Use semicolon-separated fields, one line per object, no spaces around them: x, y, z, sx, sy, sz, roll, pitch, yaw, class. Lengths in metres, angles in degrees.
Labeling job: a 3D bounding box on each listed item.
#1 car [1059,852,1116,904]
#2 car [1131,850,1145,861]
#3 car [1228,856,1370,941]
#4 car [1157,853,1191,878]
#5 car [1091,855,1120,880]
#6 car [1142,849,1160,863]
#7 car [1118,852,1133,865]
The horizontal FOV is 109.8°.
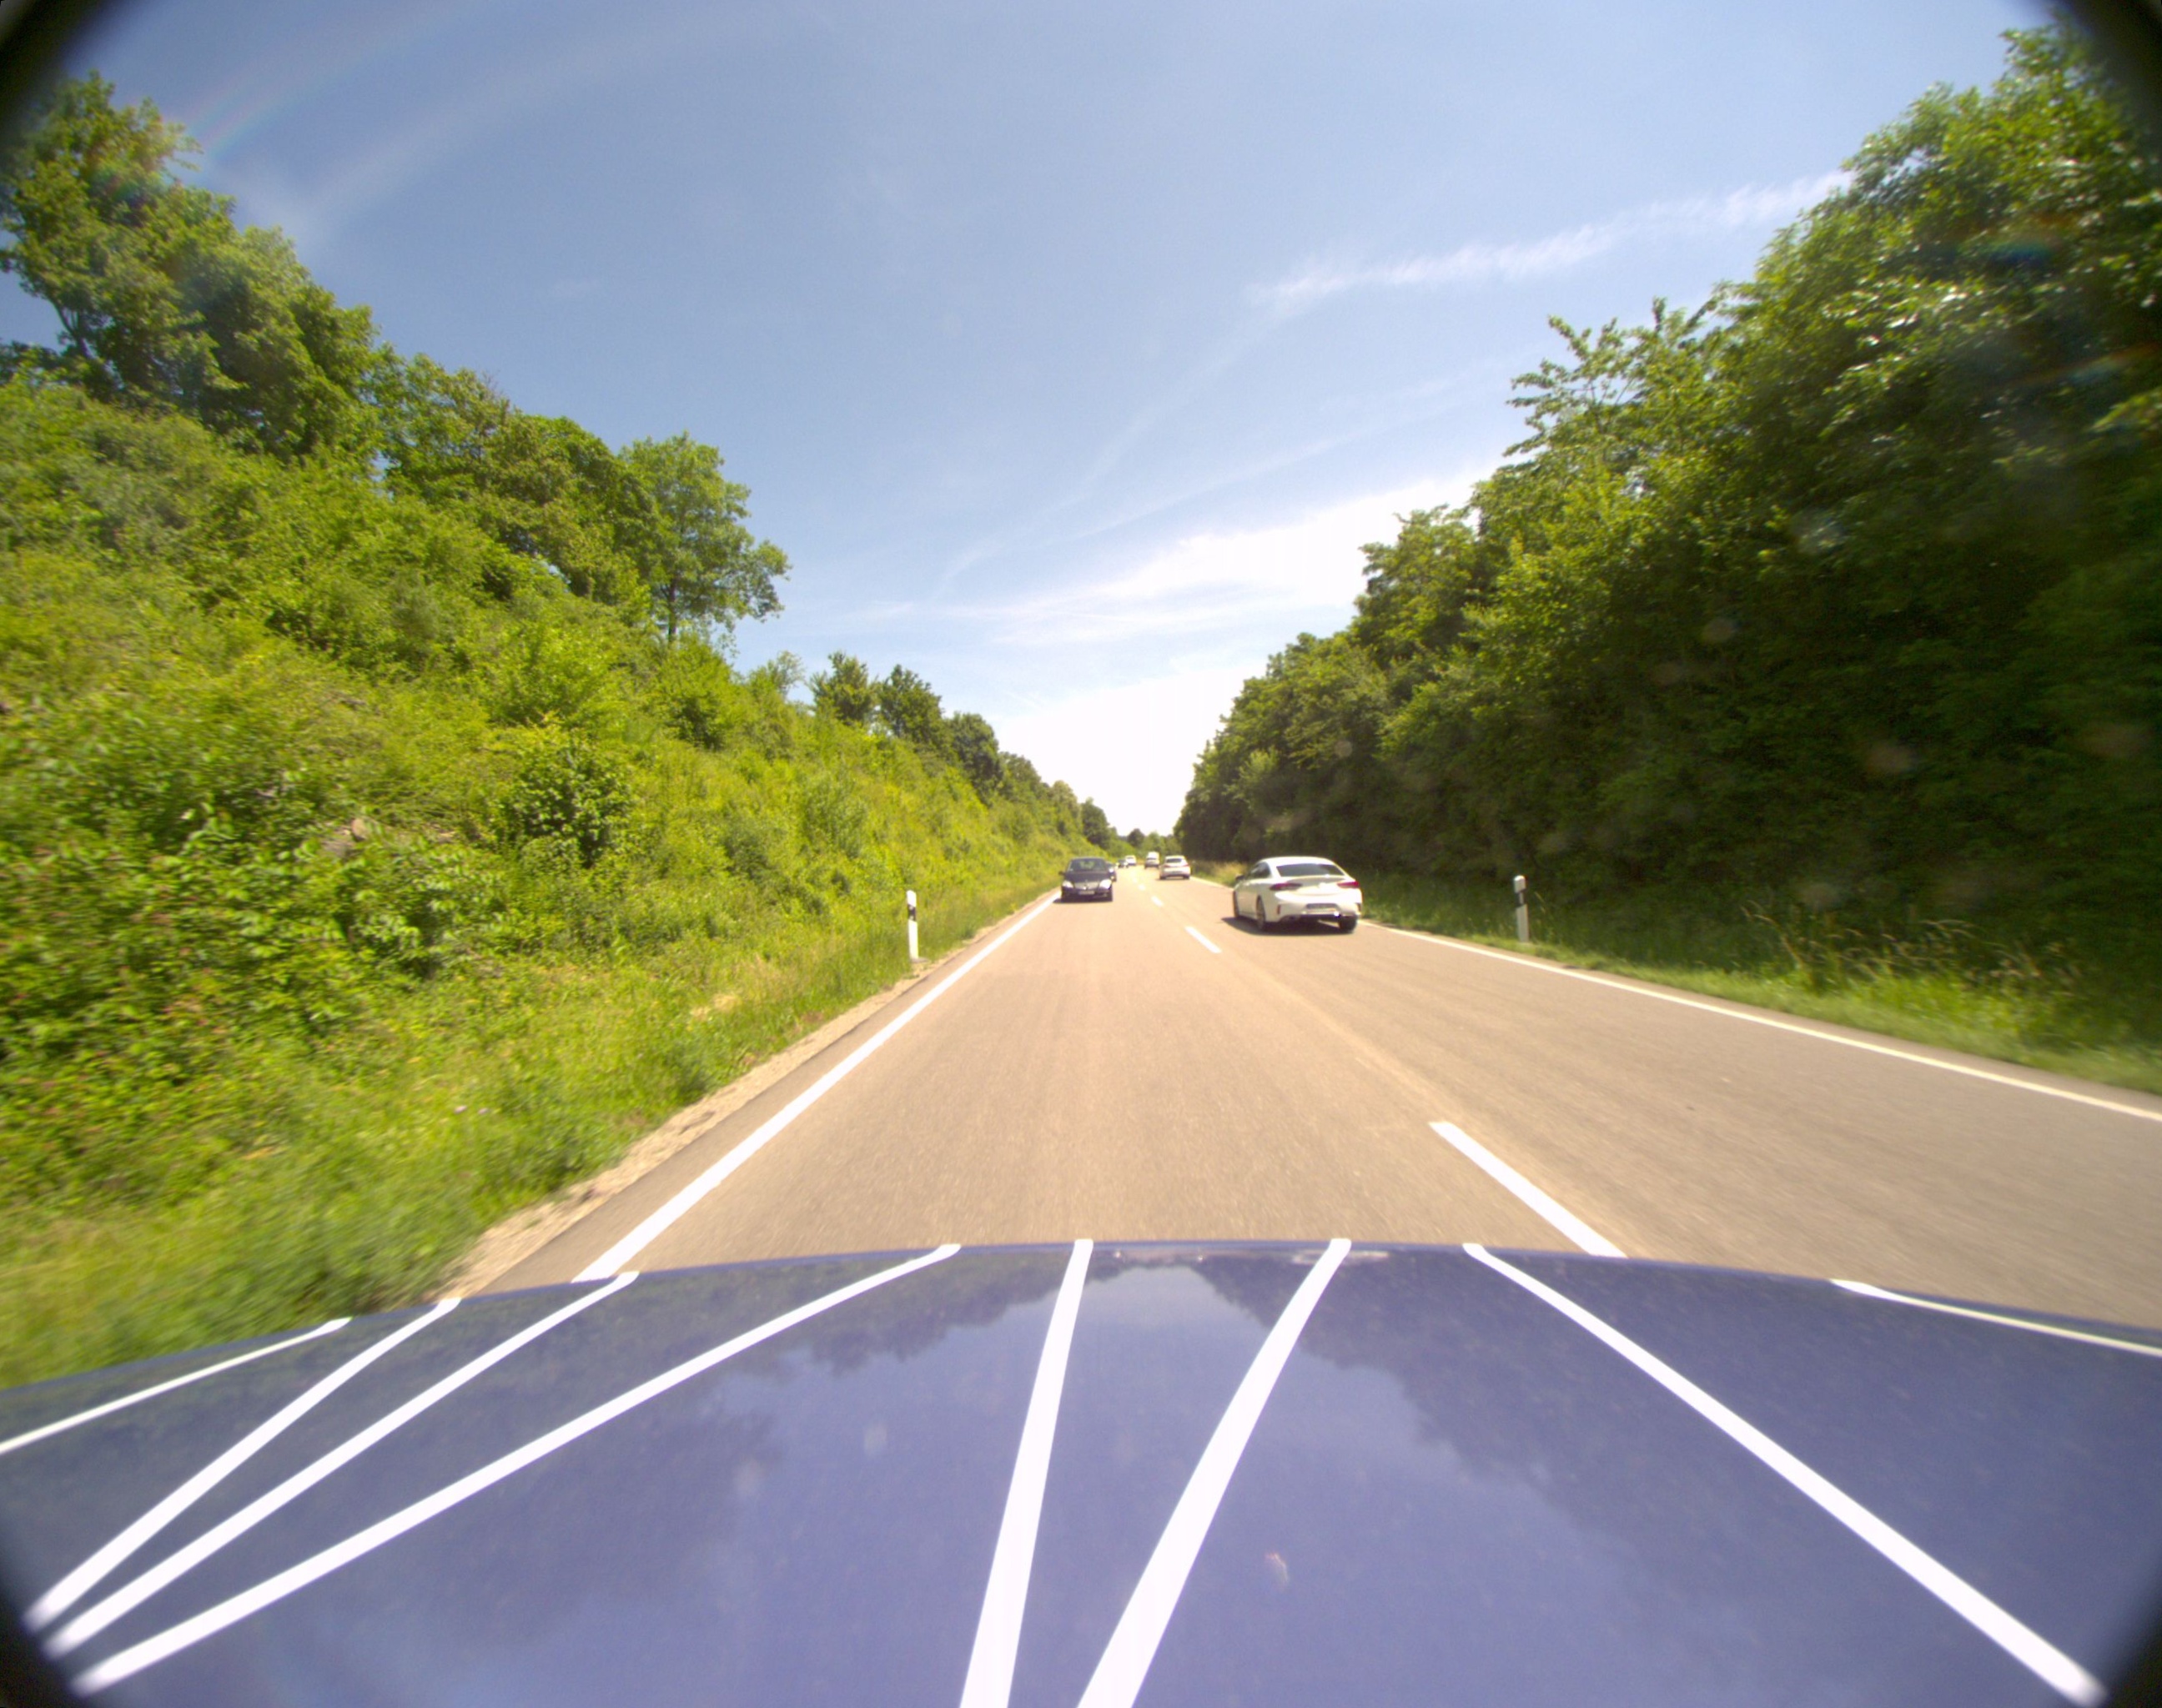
0.327;0.811;27.837;1.783;1.676;4.780;-2;0;4;car
10.444;0.245;138.329;1.997;2.002;4.003;-2;1;11;car
4.371;0.804;16.038;1.682;1.452;4.759;-2;0;1;car
5.992;0.705;49.417;1.749;1.470;4.166;-2;0;1;car
1.591;0.836;49.116;1.709;1.444;5.415;-2;0;2;car
8.951;0.228;97.435;2.045;1.743;4.167;-2;0;4;car
6.595;0.665;111.801;2.045;1.743;4.166;-2;0;2;car
